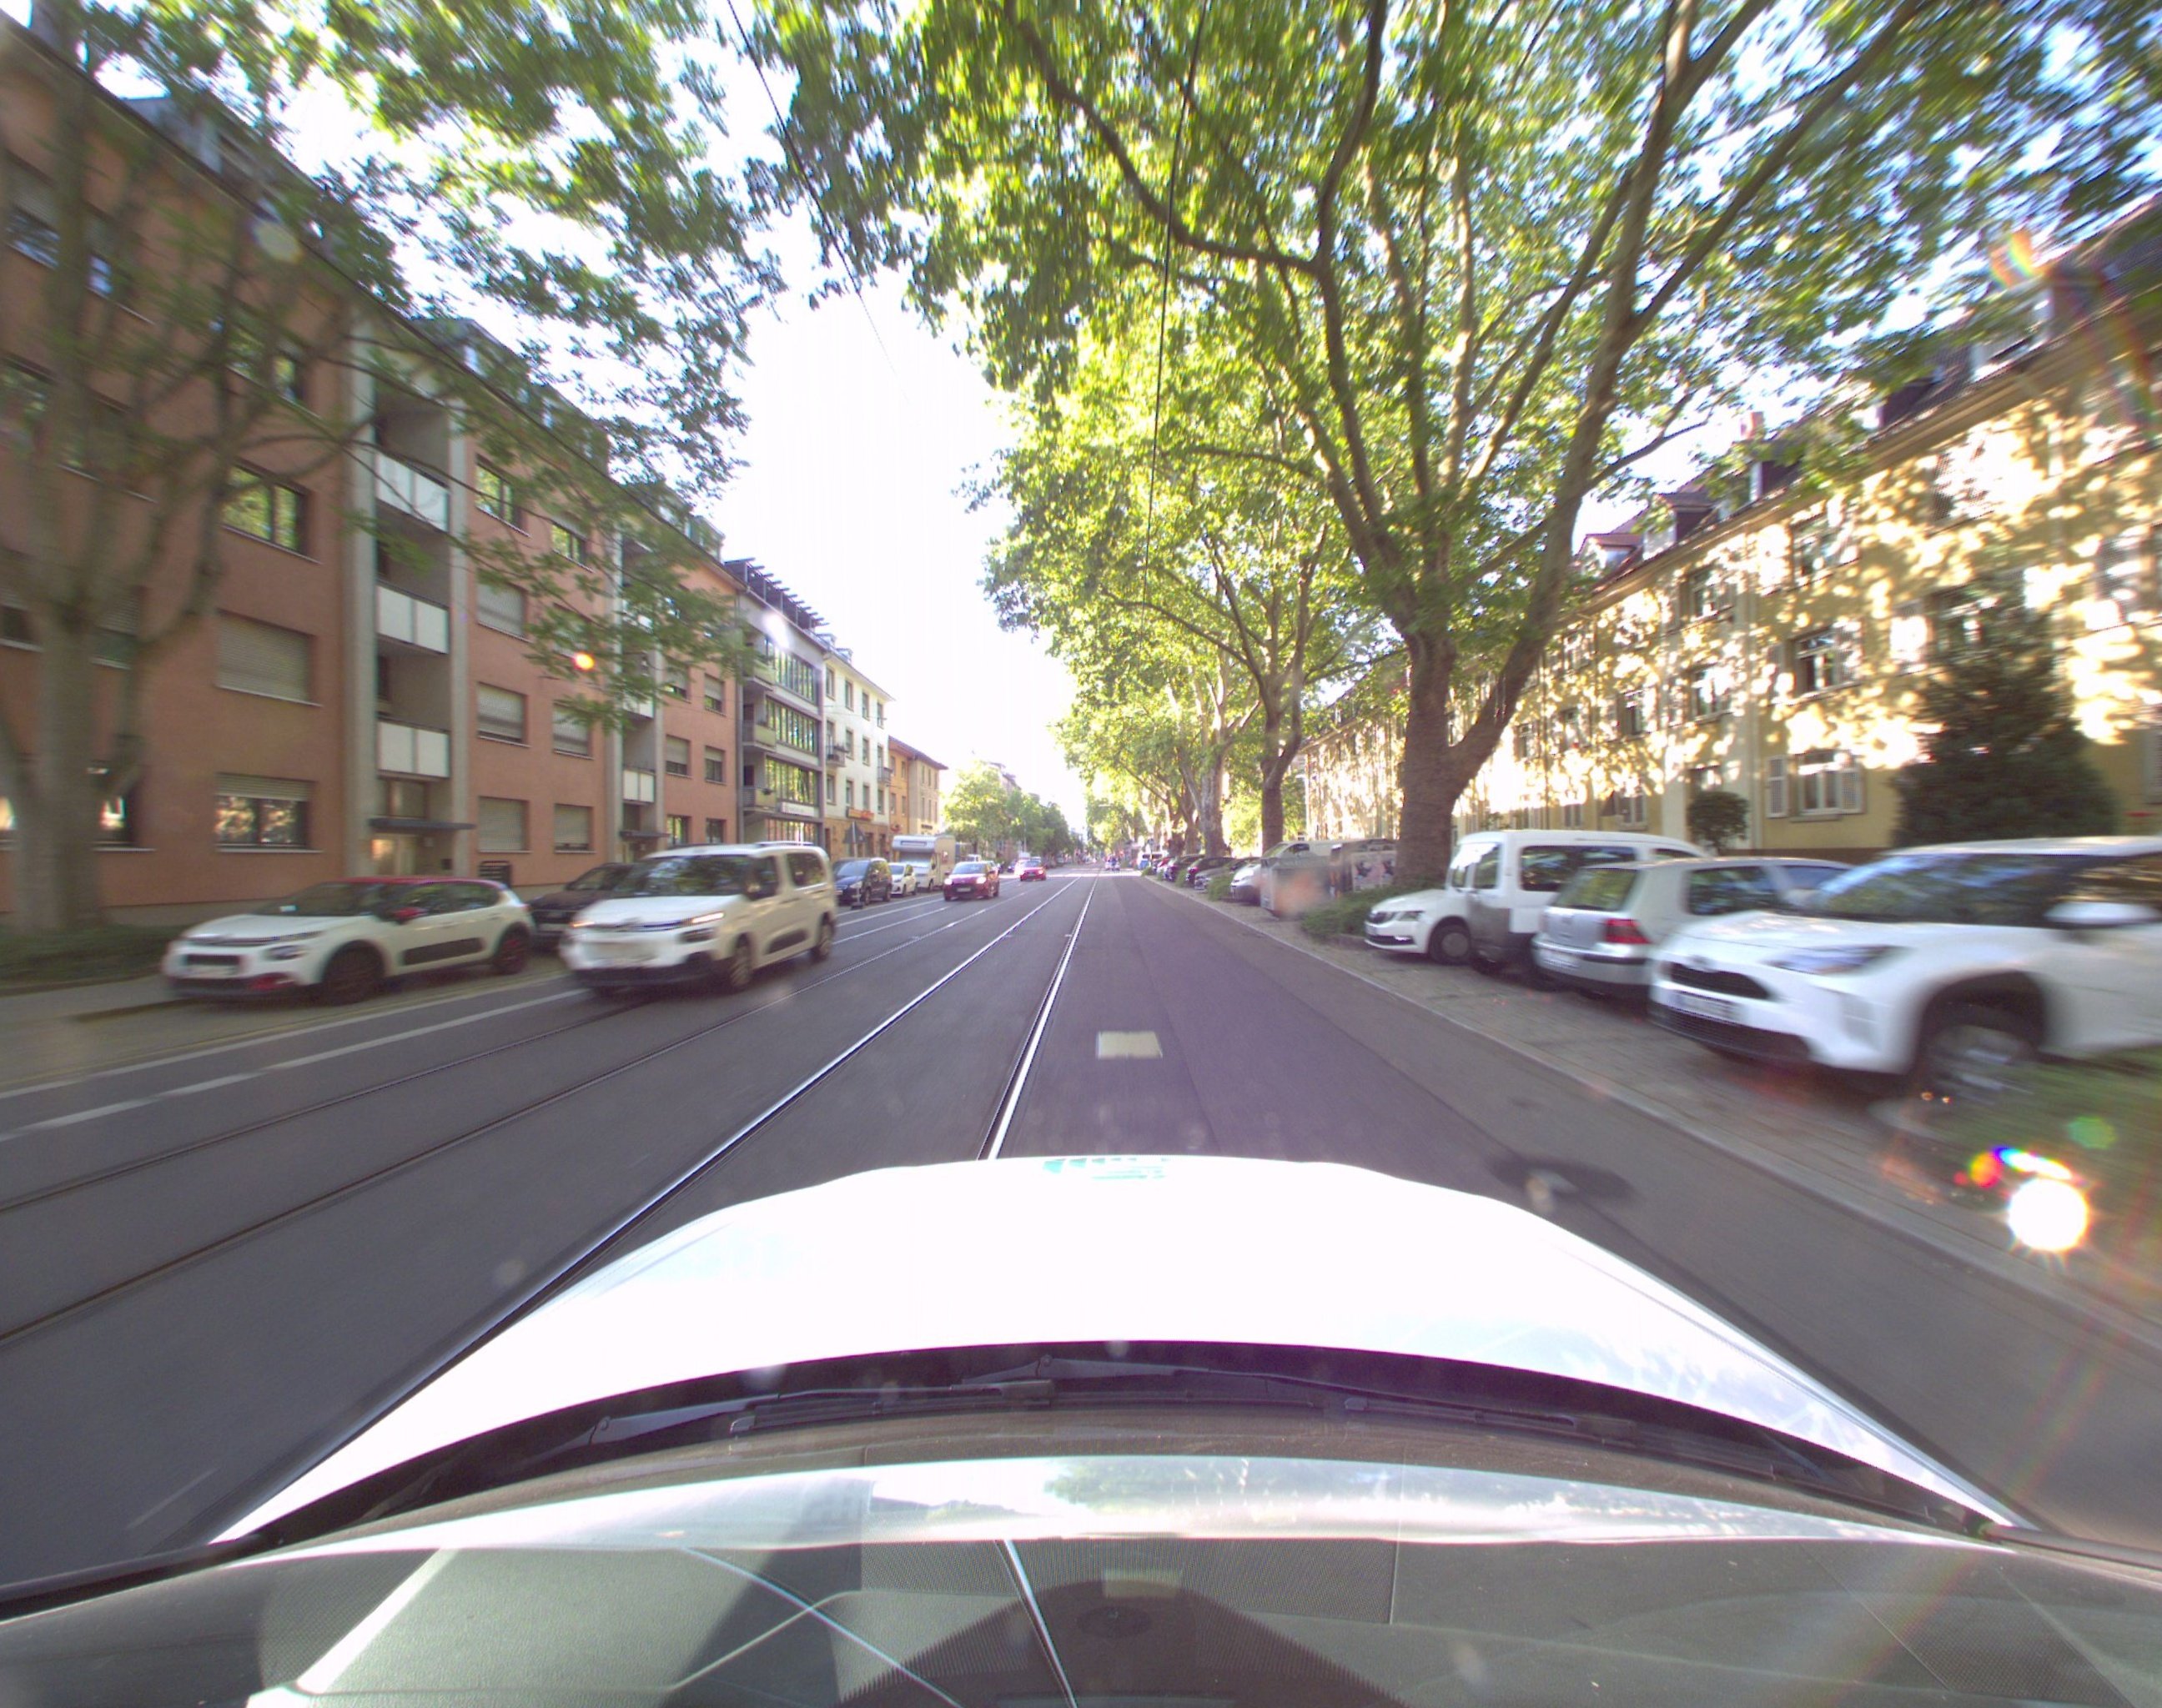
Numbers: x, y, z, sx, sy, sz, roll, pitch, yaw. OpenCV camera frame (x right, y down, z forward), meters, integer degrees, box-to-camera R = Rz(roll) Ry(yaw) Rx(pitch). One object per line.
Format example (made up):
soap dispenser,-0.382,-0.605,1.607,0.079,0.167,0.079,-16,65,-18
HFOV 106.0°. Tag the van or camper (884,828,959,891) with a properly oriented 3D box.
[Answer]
van or camper,-8.314,0.274,43.212,2.328,3.041,6.401,2,0,2

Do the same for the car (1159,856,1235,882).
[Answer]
car,6.946,0.877,49.076,4.281,1.439,1.948,-1,0,0

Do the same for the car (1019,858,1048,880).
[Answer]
car,-3.393,1.031,58.757,1.717,1.437,4.070,-2,0,1

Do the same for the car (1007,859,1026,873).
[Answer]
car,-7.366,1.355,93.585,1.781,1.587,4.344,2,0,1

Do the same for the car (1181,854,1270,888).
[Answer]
car,6.694,0.787,37.964,3.824,1.509,1.711,-1,0,1

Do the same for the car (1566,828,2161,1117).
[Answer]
car,5.811,0.634,5.379,4.074,1.521,1.916,-1,-1,0

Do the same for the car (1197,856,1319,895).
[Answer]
car,6.696,0.827,31.171,4.375,1.380,1.806,-1,-1,5

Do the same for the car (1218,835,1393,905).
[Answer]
car,6.830,0.475,25.147,4.822,1.963,2.064,-1,0,-1

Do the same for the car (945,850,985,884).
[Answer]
car,-7.883,0.854,55.878,1.946,2.091,5.247,2,0,0

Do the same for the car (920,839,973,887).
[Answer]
car,-8.137,0.529,49.824,2.079,2.731,5.311,2,0,2

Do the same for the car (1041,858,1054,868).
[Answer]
car,-6.076,1.570,147.836,1.986,1.745,4.660,-1,0,2

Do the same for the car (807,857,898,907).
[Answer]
car,-8.541,0.996,30.949,1.946,1.686,5.071,1,0,1

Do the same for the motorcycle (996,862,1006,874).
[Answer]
motorcycle,-8.801,1.526,89.495,0.760,1.107,2.331,0,2,2

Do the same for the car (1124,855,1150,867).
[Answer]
car,8.883,1.093,128.661,3.972,1.785,2.001,-1,0,1

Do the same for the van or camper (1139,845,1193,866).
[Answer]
van or camper,9.192,0.127,88.529,5.543,2.013,2.242,-1,2,-3

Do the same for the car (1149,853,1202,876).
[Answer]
car,7.457,0.815,64.558,3.911,1.670,1.960,-1,0,-1

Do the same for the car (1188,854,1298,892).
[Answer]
car,6.697,0.782,34.054,4.232,1.483,1.898,-1,0,1

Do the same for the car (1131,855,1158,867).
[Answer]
car,9.538,1.084,123.100,3.972,1.785,2.001,-1,0,1

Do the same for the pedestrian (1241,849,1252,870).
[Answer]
pedestrian,14.068,0.453,69.351,0.757,1.739,0.821,-1,-1,1

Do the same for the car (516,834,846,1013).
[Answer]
car,-4.867,0.726,10.921,1.885,1.832,4.896,-1,0,1

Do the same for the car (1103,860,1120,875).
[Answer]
car,3.645,1.598,97.177,1.911,1.584,3.792,-2,0,1

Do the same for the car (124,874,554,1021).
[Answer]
car,-9.339,1.057,10.836,1.799,1.478,4.092,1,0,3

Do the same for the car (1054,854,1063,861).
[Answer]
car,-5.354,0.844,196.039,1.912,1.419,3.721,-1,0,0

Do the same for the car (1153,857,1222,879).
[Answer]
car,7.472,0.990,57.461,4.669,1.446,1.893,-1,0,1

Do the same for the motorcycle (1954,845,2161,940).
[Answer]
motorcycle,13.539,0.475,11.171,0.712,1.153,2.265,-2,0,2

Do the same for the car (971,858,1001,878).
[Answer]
car,-7.676,1.136,66.418,1.830,1.468,5.068,2,0,0

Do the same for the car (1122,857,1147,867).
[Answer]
car,8.640,1.229,130.972,3.972,1.521,2.001,-1,0,1

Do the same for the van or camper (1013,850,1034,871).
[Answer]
van or camper,-7.208,0.846,102.824,2.071,2.533,5.319,-1,0,2

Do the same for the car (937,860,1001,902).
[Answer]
car,-4.321,0.991,32.034,1.769,1.458,4.203,-2,0,1

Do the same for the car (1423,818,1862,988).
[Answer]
car,6.353,0.542,9.654,3.826,1.772,1.919,-1,0,5

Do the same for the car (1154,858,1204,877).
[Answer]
car,7.483,1.001,62.331,3.636,1.378,1.890,-1,0,2

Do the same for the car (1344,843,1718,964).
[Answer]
car,6.209,0.660,11.683,4.349,1.542,1.804,-1,0,5

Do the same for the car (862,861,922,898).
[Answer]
car,-8.463,1.125,36.762,1.704,1.488,3.862,2,0,1

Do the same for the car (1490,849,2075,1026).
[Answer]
car,6.237,0.713,7.692,3.826,1.433,1.854,-1,0,5

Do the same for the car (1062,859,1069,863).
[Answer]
car,-4.756,2.169,250.563,1.912,1.419,3.589,-1,0,-1

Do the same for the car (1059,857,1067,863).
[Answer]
car,-5.157,1.771,232.717,1.914,1.419,3.586,-3,-1,-3

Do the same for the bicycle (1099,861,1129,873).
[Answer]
bicycle,3.362,1.300,82.629,2.946,1.105,1.049,-1,0,-8

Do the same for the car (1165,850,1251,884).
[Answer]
car,6.889,0.702,44.598,4.475,1.602,2.030,-3,-1,5

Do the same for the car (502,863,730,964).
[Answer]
car,-8.871,1.028,16.095,1.775,1.610,4.588,2,0,1

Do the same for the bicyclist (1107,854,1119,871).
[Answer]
bicyclist,3.254,0.896,82.640,1.045,1.705,1.055,-1,0,-8
